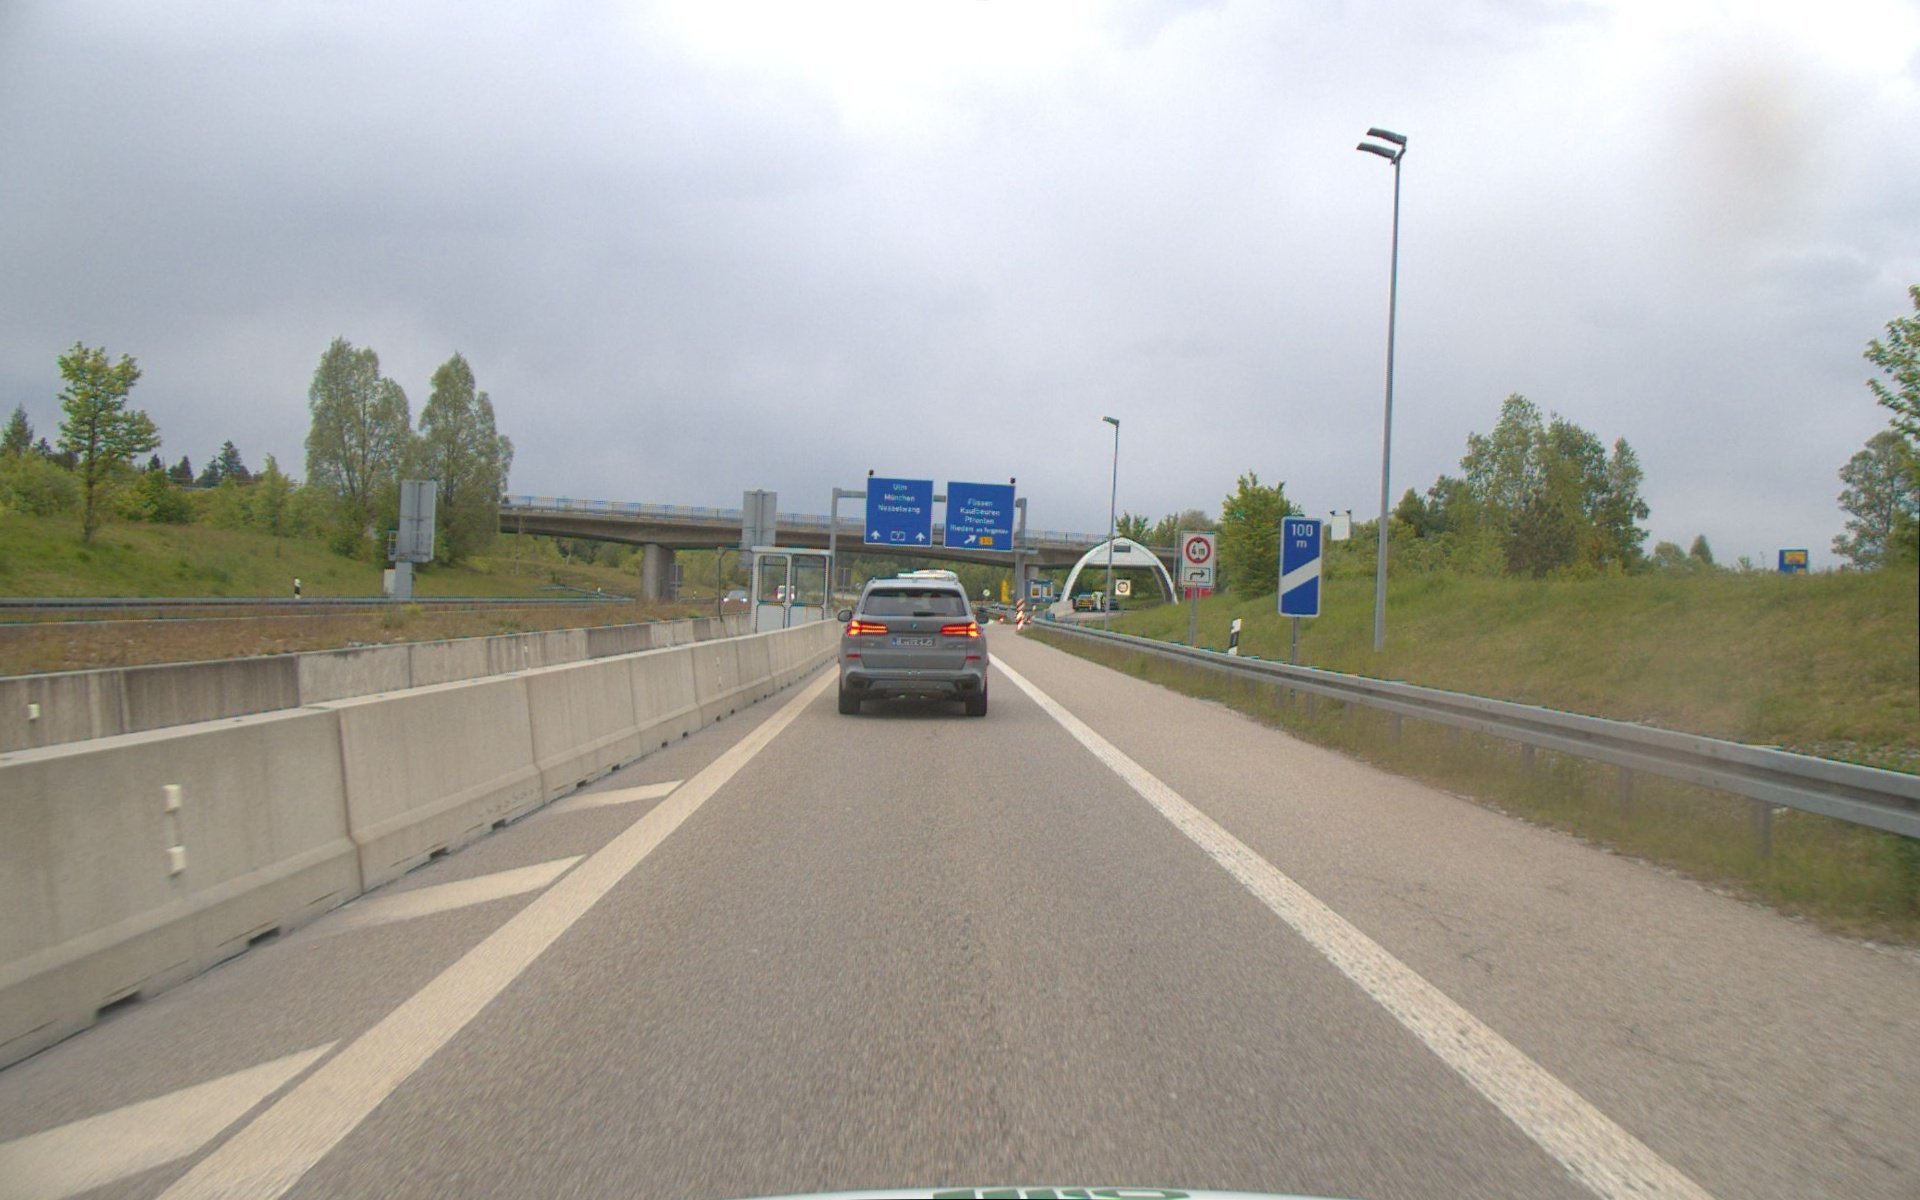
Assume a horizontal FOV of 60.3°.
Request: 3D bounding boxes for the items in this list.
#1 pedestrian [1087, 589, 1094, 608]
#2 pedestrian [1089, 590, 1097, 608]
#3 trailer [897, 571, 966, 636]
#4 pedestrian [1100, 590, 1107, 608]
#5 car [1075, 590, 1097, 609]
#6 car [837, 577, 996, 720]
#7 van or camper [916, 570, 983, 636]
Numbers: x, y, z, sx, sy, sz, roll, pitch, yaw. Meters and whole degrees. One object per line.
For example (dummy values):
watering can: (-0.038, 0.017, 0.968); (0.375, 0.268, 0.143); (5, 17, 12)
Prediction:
pedestrian: (13.112, -0.159, 166.372); (0.705, 1.979, 0.690); (0, 0, 3)
pedestrian: (13.276, -0.091, 165.183); (0.705, 1.806, 0.690); (0, 0, 3)
trailer: (-1.083, 0.165, 67.536); (2.231, 2.473, 6.820); (1, 0, 4)
pedestrian: (14.379, -0.089, 166.172); (0.634, 1.806, 0.606); (0, 0, 1)
car: (12.398, -0.085, 162.845); (1.952, 1.803, 3.767); (0, 0, 3)
car: (-0.578, 0.604, 22.540); (1.953, 1.749, 3.999); (1, 0, -1)
van or camper: (-0.397, 0.151, 73.891); (2.111, 2.812, 5.876); (1, 0, 8)
